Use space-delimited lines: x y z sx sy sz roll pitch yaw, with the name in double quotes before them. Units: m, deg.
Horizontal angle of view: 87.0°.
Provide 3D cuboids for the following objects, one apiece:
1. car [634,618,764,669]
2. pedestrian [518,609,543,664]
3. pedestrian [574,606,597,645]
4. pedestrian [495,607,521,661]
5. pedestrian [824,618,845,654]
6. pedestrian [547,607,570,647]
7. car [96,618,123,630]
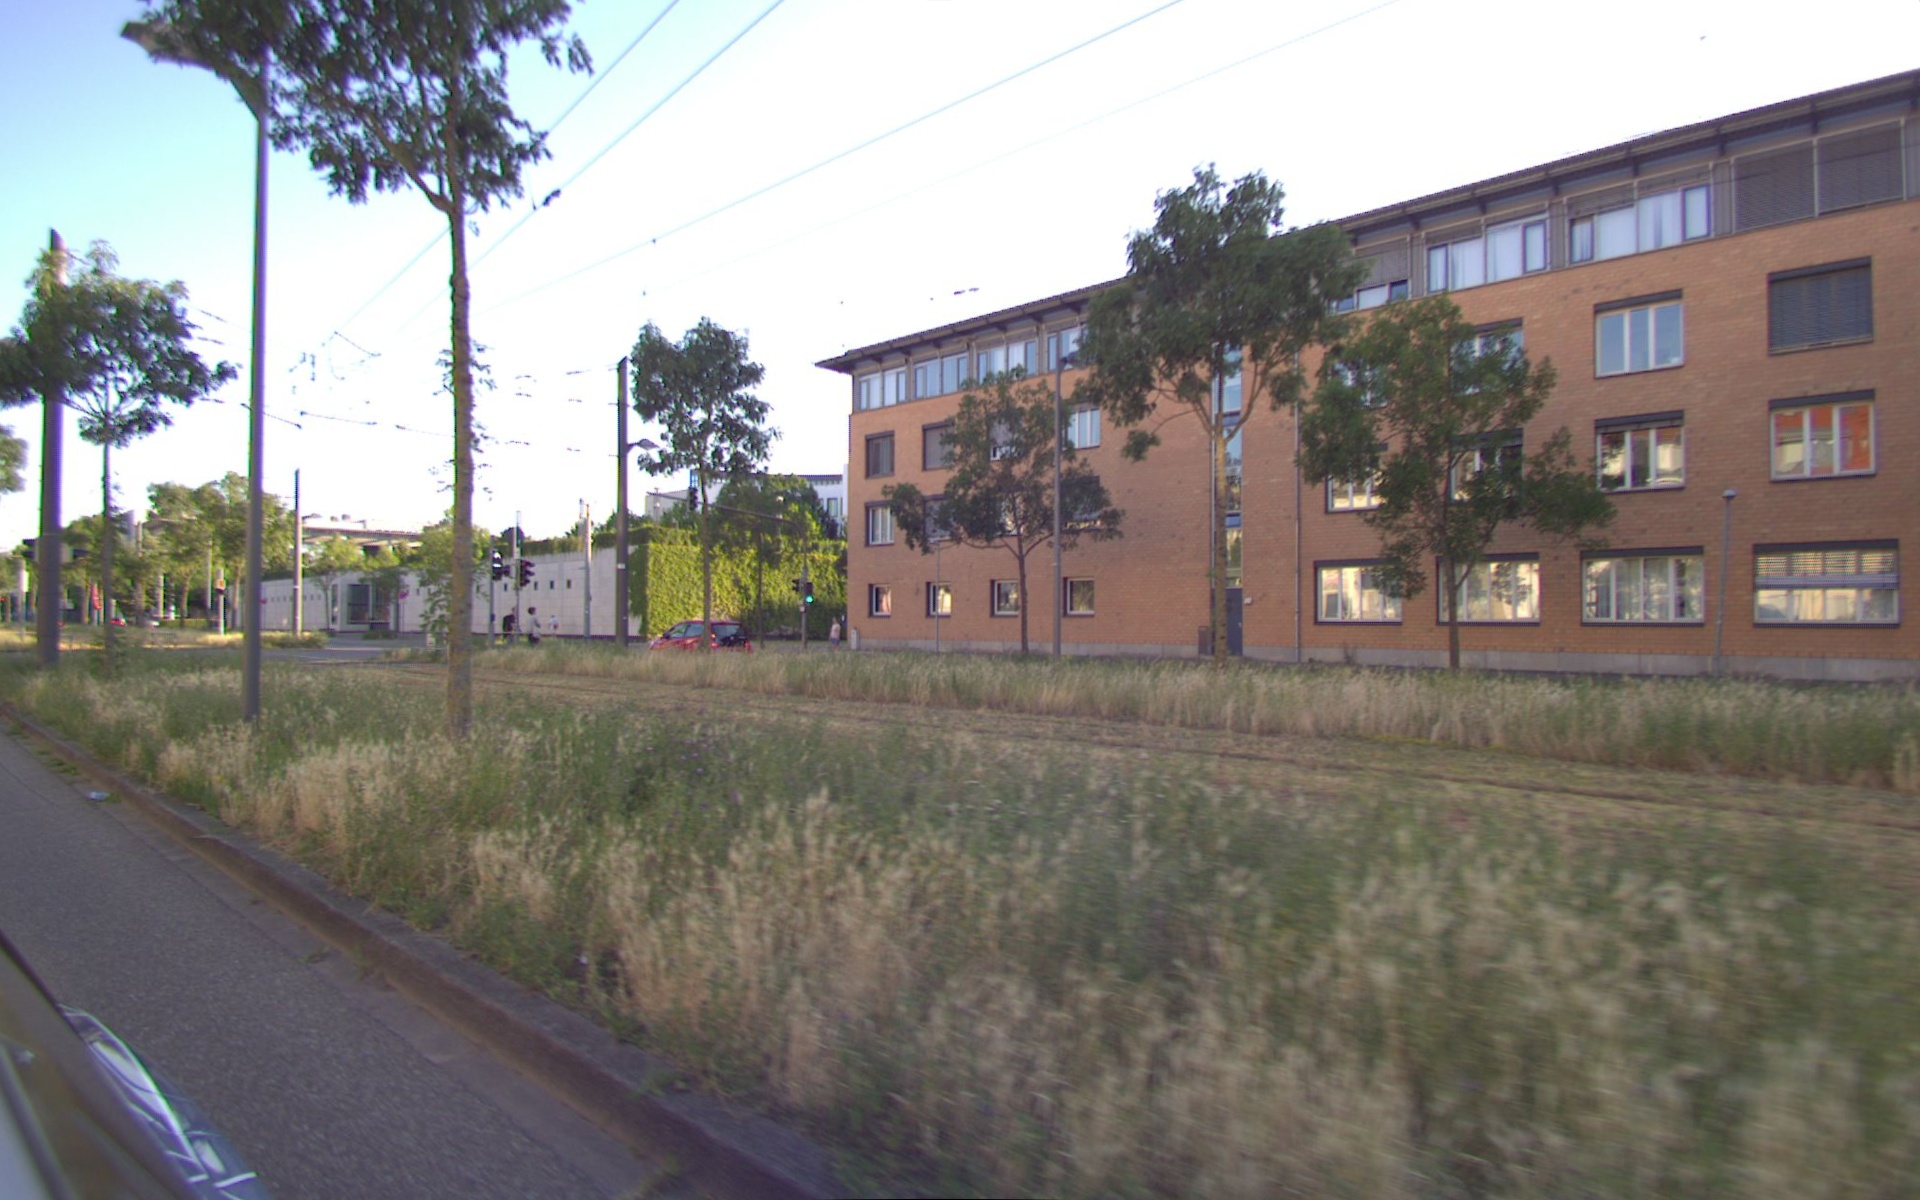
"car" -7.668 1.233 29.529 3.999 1.386 1.771 -1 -2 42
"pedestrian" -13.371 1.131 31.508 0.544 1.697 0.512 0 -1 12
"pedestrian" -19.532 1.318 52.771 0.863 2.029 0.724 -1 -1 27
"pedestrian" -14.276 1.065 31.968 0.544 1.697 0.512 0 -1 12
"pedestrian" -4.877 1.381 39.240 0.574 1.378 0.580 -1 -2 36
"pedestrian" -20.706 1.381 52.201 0.864 2.029 0.723 -1 -1 28
"car" -94.061 2.659 111.920 3.999 1.386 1.771 -1 -2 42
